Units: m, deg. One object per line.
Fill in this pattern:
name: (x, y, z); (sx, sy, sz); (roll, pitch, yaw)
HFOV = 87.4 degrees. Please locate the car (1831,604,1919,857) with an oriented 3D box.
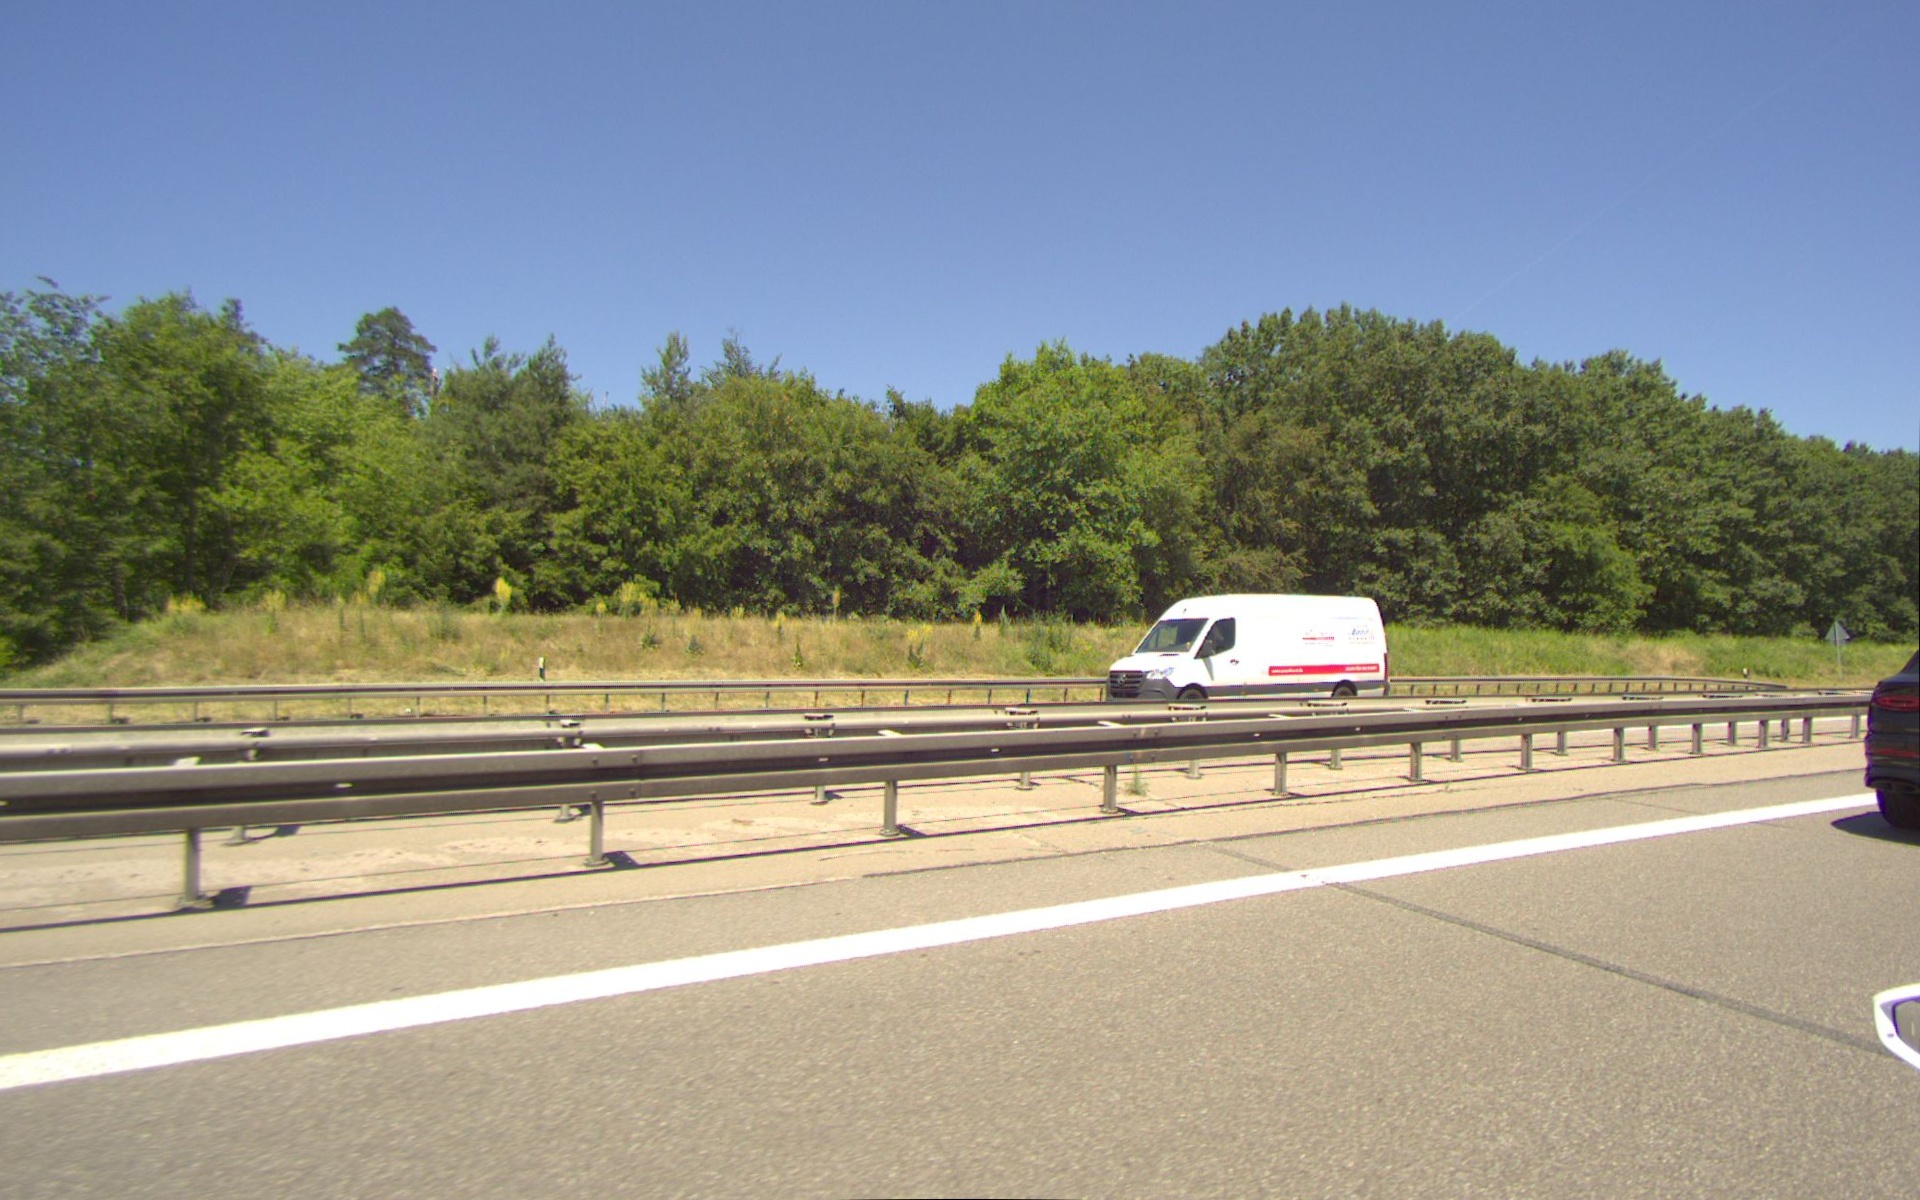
car: (9.471, 0.975, 8.080); (5.743, 1.775, 1.932); (1, -1, -29)

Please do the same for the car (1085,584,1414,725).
car: (6.380, 1.194, 21.681); (7.451, 2.658, 2.157); (2, -5, -29)
